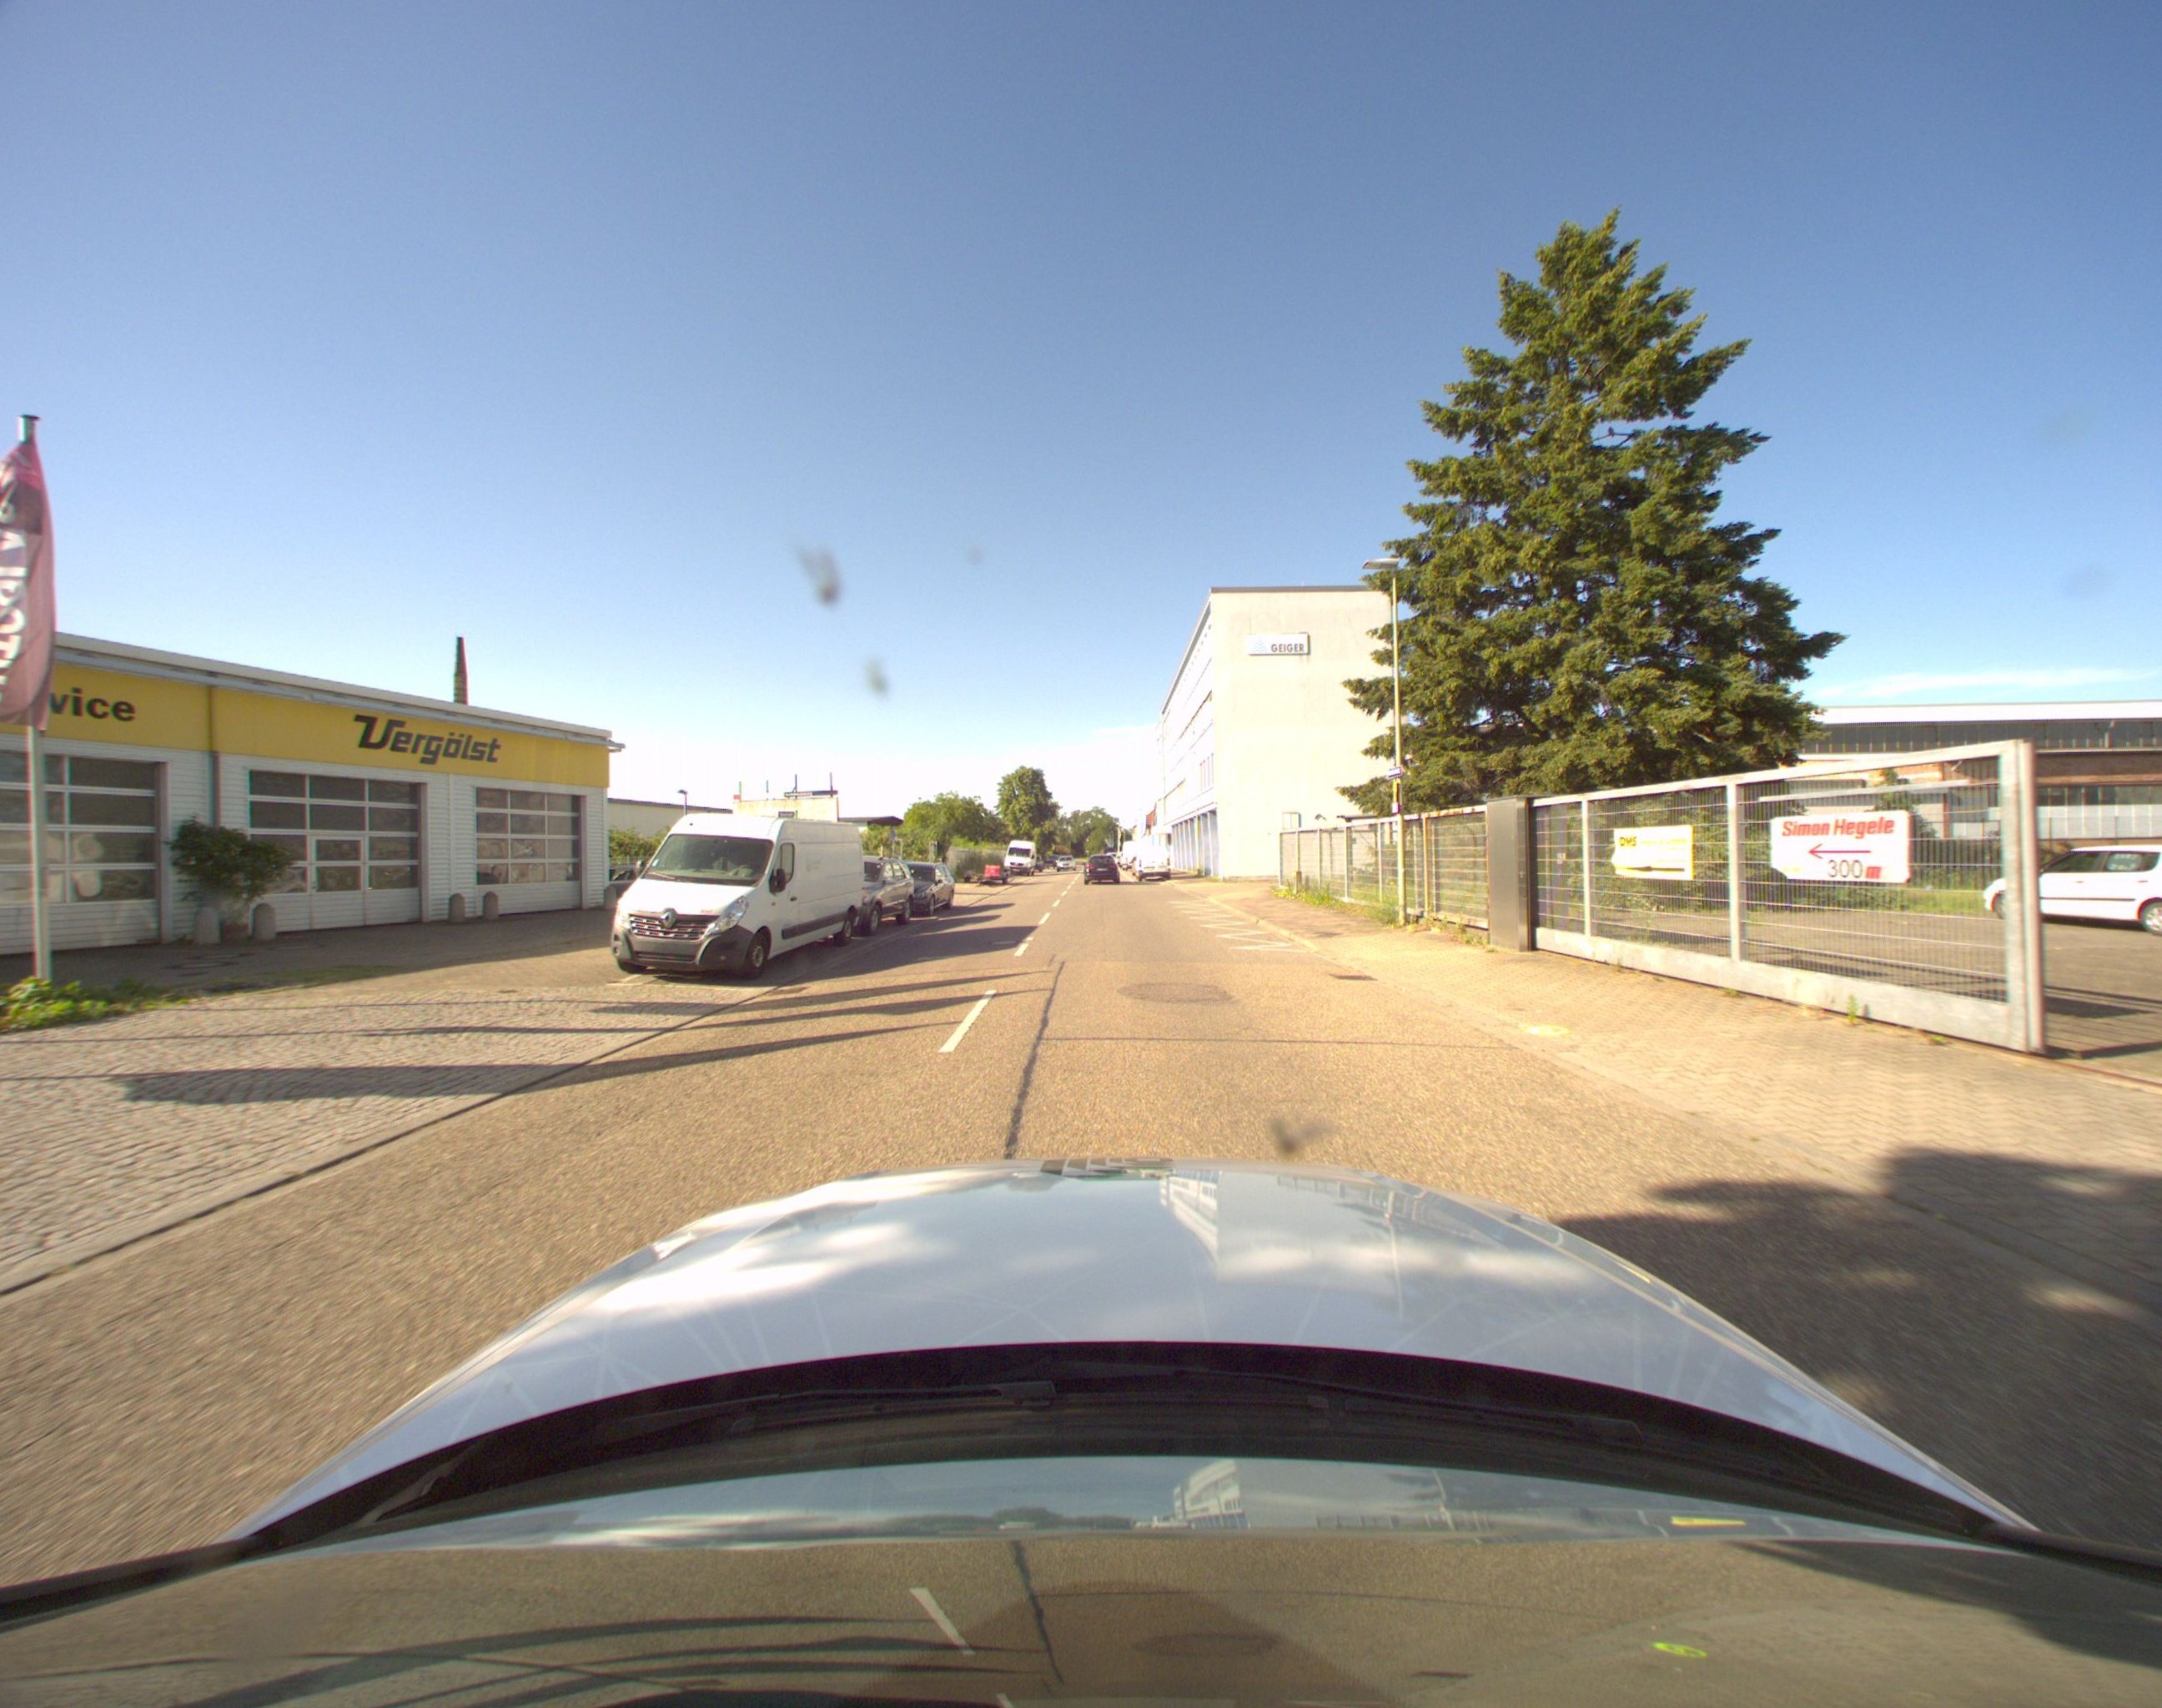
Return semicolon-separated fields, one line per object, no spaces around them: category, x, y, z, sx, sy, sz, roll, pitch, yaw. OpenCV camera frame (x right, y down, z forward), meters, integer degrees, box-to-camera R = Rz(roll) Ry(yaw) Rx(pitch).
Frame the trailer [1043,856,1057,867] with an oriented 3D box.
trailer;-3.720;0.886;97.578;1.471;1.354;3.079;0;0;1

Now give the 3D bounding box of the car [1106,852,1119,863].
car;4.904;0.574;127.648;1.880;1.798;5.102;0;-1;0

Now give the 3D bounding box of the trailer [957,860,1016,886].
trailer;-5.043;1.005;44.457;2.368;1.080;6.245;3;1;0

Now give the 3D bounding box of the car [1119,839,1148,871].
car;4.567;0.076;71.643;1.987;2.597;6.049;-3;1;0

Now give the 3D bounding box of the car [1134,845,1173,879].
car;4.012;0.432;45.893;1.882;1.832;5.093;-1;0;2

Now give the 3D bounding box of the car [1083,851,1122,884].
car;1.072;0.664;41.004;1.840;1.530;4.001;-2;0;1

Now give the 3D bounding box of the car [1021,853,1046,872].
car;-4.411;0.763;76.351;2.024;1.694;5.105;3;0;-1

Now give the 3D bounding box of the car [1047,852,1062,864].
car;-3.718;0.553;115.802;1.784;1.731;4.805;-2;0;2

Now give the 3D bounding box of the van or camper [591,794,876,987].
van or camper;-5.543;0.481;14.307;2.063;2.549;6.404;3;0;1

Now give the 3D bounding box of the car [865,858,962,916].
car;-5.019;0.939;25.138;1.793;1.510;5.004;2;0;1

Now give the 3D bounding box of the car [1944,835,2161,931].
car;18.696;0.447;14.755;1.854;1.564;4.302;-1;0;6

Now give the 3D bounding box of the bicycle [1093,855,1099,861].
bicycle;3.634;0.959;199.097;0.806;1.268;2.242;1;-1;-21

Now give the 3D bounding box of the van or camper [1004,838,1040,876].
van or camper;-4.478;0.200;63.095;1.958;2.685;5.951;4;0;2

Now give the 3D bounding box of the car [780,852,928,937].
car;-5.340;0.866;19.857;1.985;1.738;4.579;2;0;4

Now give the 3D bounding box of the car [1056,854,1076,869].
car;-1.417;0.713;79.463;1.741;1.447;4.361;-1;0;1

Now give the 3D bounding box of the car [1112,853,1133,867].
car;4.230;0.606;83.297;1.888;1.405;5.123;0;-1;0

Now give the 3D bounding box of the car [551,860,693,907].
car;-16.524;1.039;29.394;4.132;1.574;1.922;-1;0;10

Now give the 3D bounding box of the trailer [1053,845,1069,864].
trailer;-3.775;0.146;156.664;2.982;3.443;8.158;-1;0;-1
